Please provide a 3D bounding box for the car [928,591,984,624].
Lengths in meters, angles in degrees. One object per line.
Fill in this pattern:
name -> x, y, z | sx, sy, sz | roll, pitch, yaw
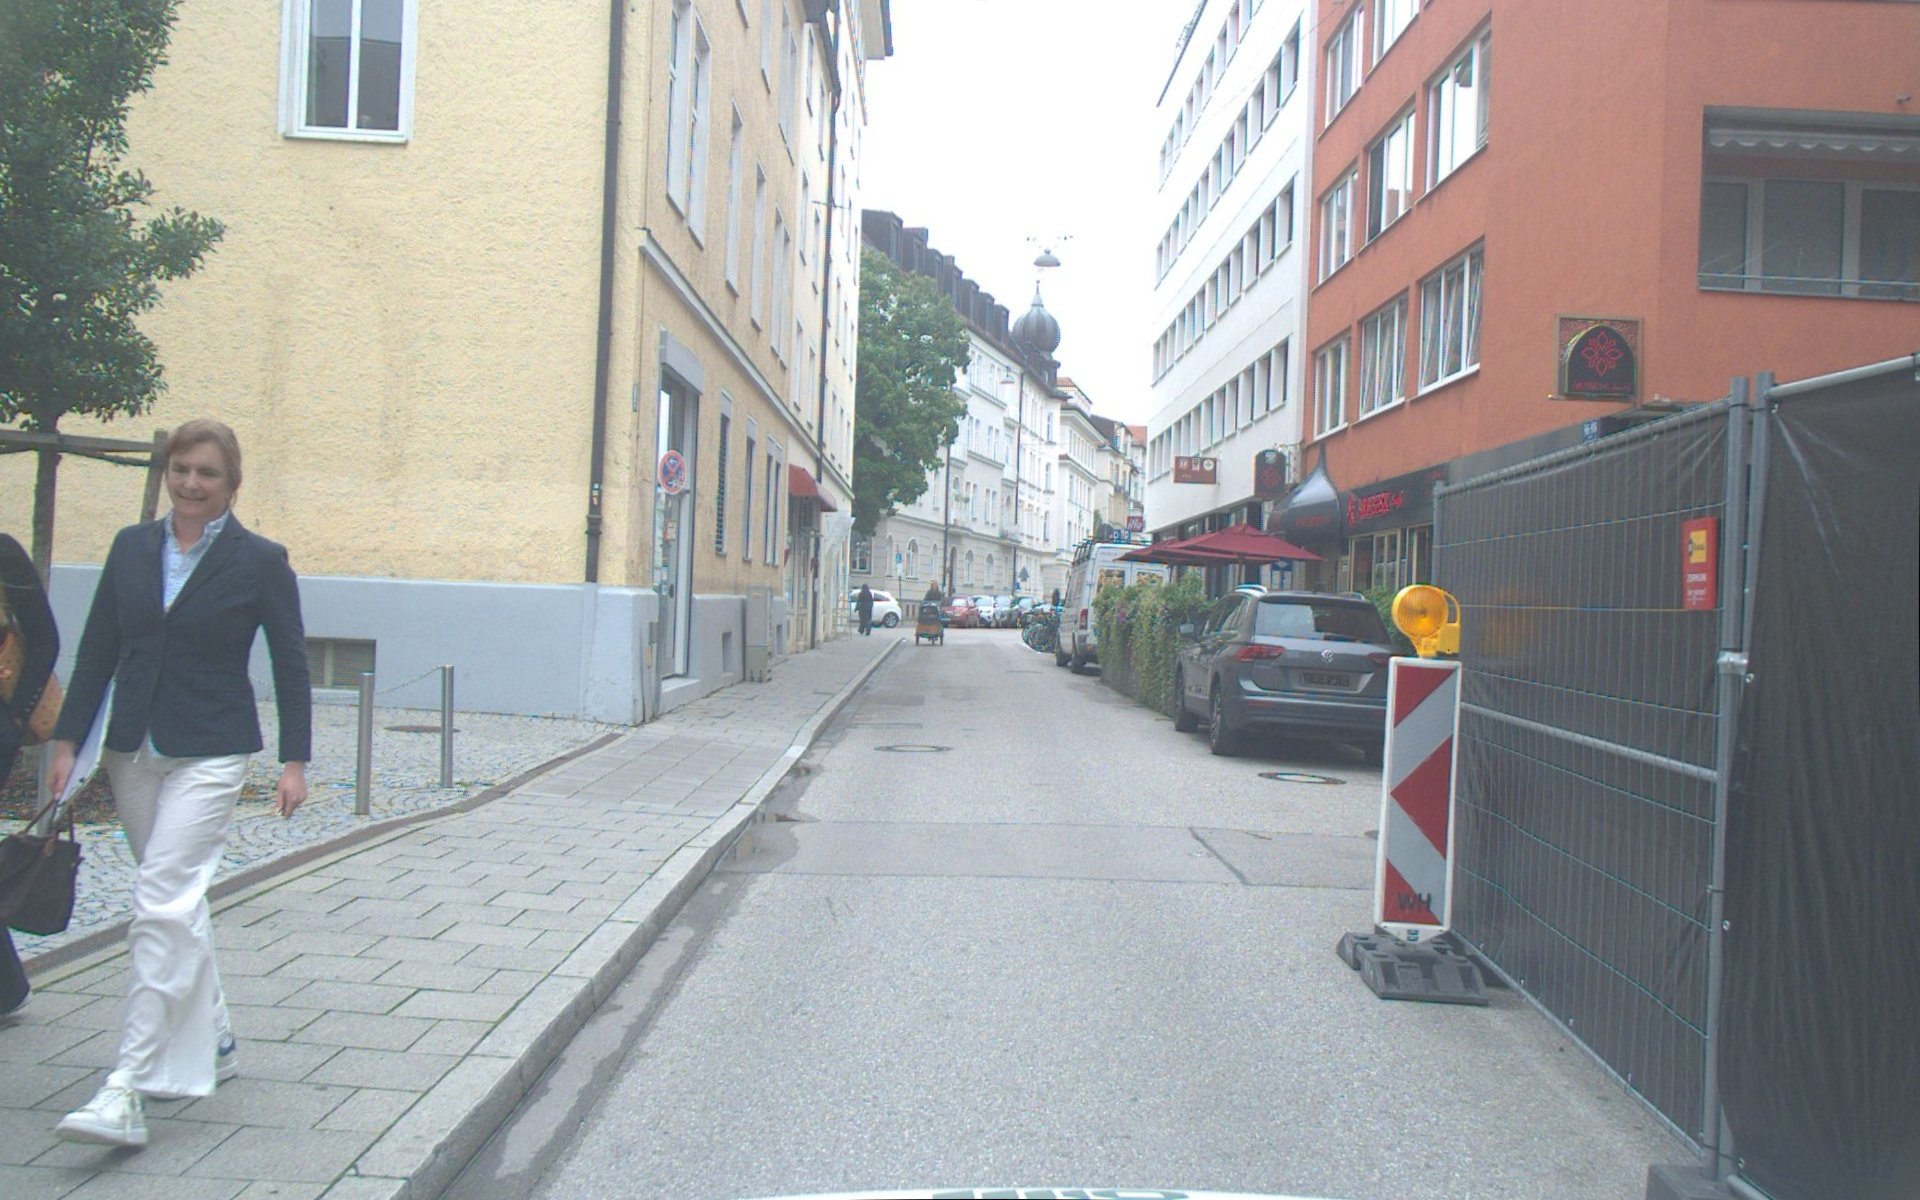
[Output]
car -> -0.147, 0.344, 74.524 | 1.694, 1.402, 4.230 | 2, 0, 11

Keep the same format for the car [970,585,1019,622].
car -> 1.790, 0.178, 84.572 | 1.901, 1.732, 4.003 | 3, 0, 9

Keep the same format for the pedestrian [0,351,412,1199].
pedestrian -> -1.943, 0.398, 4.119 | 0.760, 1.868, 0.991 | 2, 0, -1

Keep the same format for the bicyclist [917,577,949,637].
bicyclist -> -0.817, 0.199, 49.557 | 0.907, 1.751, 1.099 | 1, 0, 0

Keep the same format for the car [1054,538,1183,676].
car -> 3.217, 0.114, 34.883 | 1.882, 2.549, 5.995 | 3, 0, -1

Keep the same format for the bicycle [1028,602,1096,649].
bicycle -> 2.878, 0.723, 46.681 | 1.836, 1.225, 0.488 | 2, 1, -3

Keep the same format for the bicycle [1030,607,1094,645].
bicycle -> 3.067, 0.801, 49.971 | 1.837, 1.070, 0.564 | 2, -2, -4

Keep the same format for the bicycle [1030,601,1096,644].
bicycle -> 3.019, 0.668, 48.697 | 1.856, 1.190, 0.565 | 2, 0, -3

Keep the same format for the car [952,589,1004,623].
car -> 0.885, 0.306, 79.431 | 1.951, 1.499, 4.222 | 2, 0, 8

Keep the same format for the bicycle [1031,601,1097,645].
bicycle -> 3.021, 0.664, 48.097 | 1.836, 1.225, 0.579 | 1, 0, -3

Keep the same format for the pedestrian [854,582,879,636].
pedestrian -> -2.974, 0.292, 52.482 | 0.679, 1.660, 0.663 | 3, 0, -1

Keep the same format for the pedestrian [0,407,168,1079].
pedestrian -> -2.671, 0.358, 4.450 | 0.541, 1.689, 0.997 | 2, 0, -1

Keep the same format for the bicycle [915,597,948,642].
bicycle -> -0.829, 0.570, 49.205 | 0.913, 1.279, 2.414 | 1, -1, 0

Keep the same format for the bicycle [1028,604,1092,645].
bicycle -> 2.981, 0.727, 49.267 | 1.837, 1.114, 0.439 | 2, 1, -4

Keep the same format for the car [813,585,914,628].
car -> -3.863, 0.253, 65.951 | 3.697, 1.605, 1.992 | 1, -1, -16

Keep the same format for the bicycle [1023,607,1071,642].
bicycle -> 2.819, 0.792, 53.579 | 1.424, 1.088, 0.462 | 3, 0, -8

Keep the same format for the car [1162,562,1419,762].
car -> 3.296, 0.567, 17.357 | 1.787, 1.740, 4.389 | 3, 0, 1

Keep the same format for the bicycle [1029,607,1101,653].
bicycle -> 2.871, 0.820, 45.259 | 1.836, 1.098, 0.488 | 4, 1, -3

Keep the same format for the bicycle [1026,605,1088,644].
bicycle -> 2.985, 0.751, 51.107 | 1.837, 1.098, 0.408 | 2, 1, -4

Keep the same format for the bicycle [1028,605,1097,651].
bicycle -> 2.854, 0.778, 46.161 | 1.836, 1.127, 0.488 | 4, 1, -3

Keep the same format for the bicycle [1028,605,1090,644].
bicycle -> 3.025, 0.742, 50.669 | 1.837, 1.098, 0.402 | 2, 1, -4
